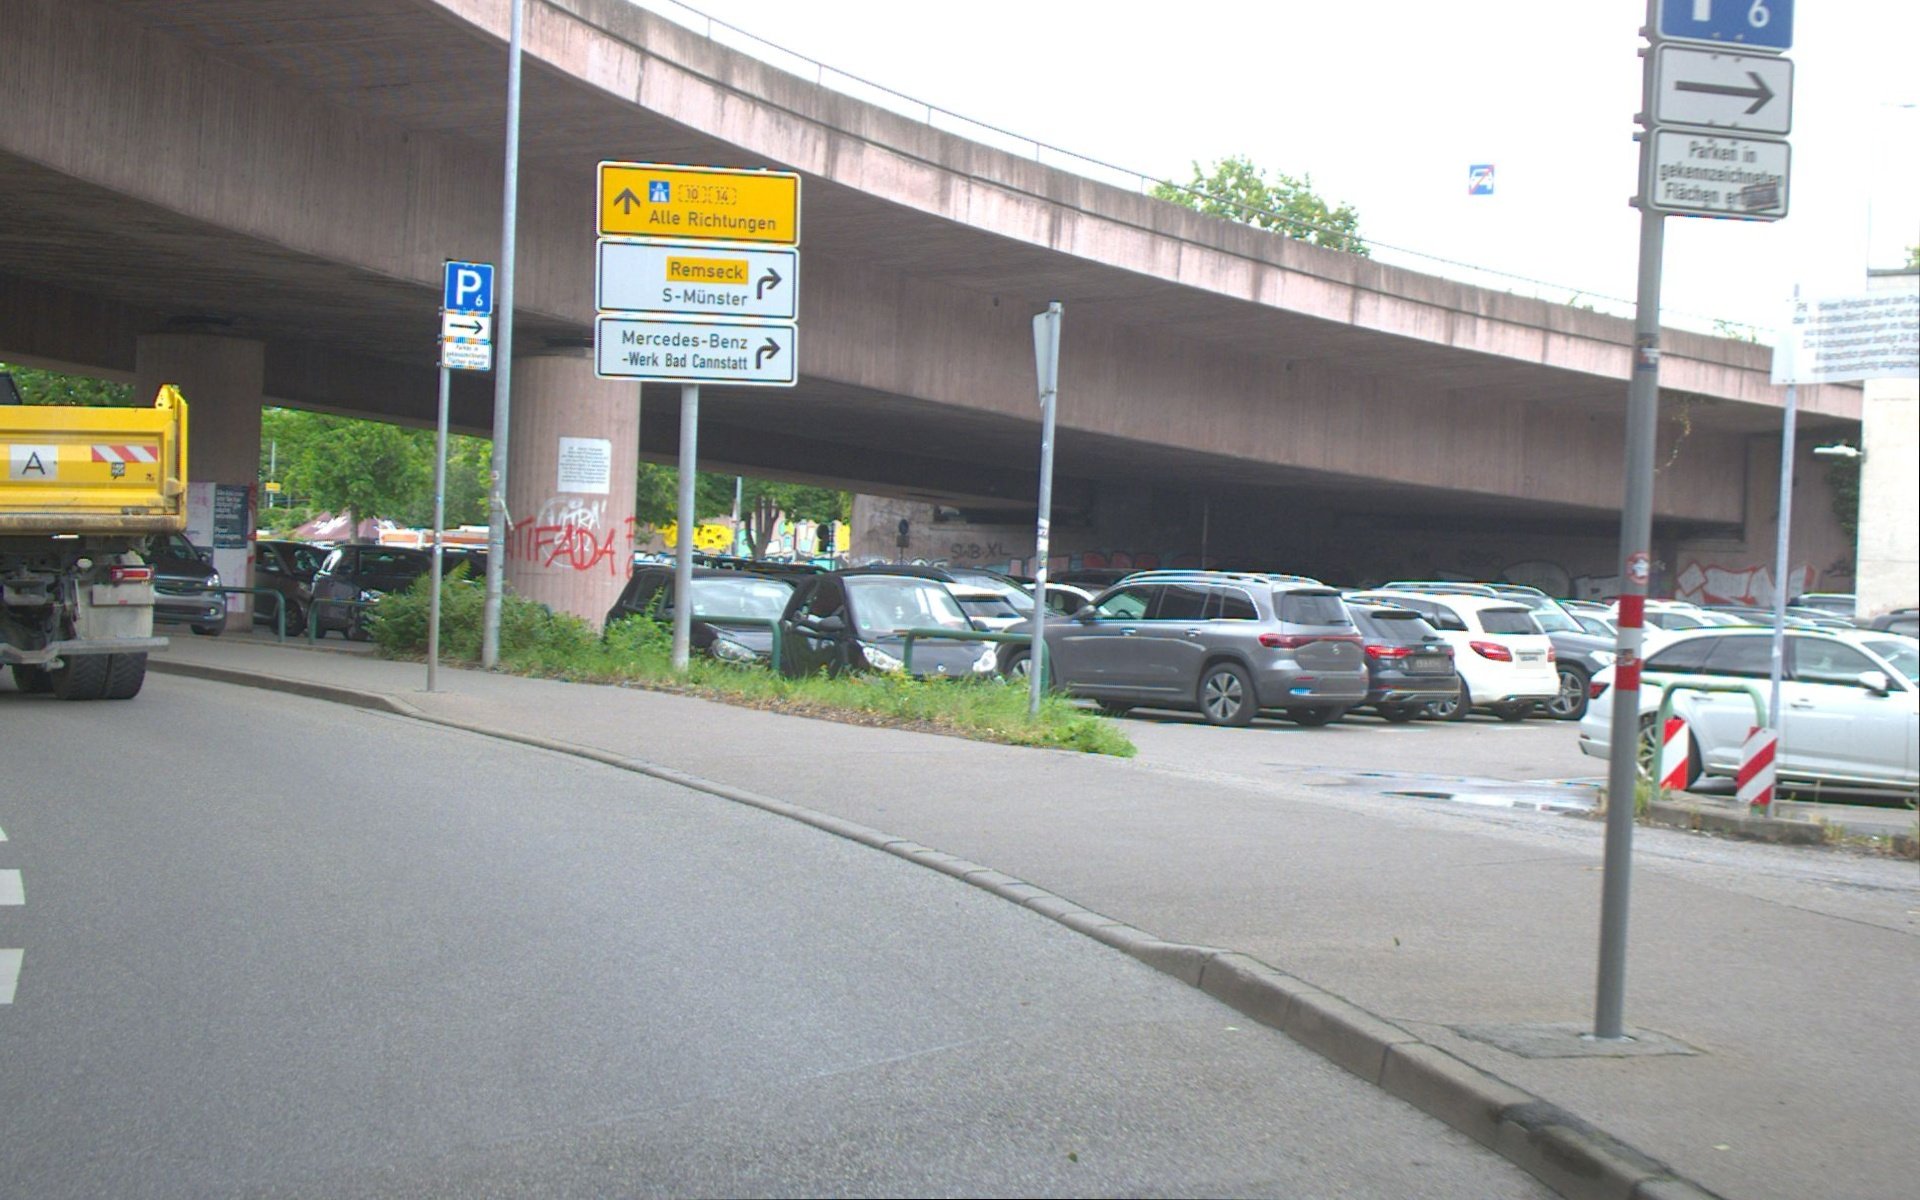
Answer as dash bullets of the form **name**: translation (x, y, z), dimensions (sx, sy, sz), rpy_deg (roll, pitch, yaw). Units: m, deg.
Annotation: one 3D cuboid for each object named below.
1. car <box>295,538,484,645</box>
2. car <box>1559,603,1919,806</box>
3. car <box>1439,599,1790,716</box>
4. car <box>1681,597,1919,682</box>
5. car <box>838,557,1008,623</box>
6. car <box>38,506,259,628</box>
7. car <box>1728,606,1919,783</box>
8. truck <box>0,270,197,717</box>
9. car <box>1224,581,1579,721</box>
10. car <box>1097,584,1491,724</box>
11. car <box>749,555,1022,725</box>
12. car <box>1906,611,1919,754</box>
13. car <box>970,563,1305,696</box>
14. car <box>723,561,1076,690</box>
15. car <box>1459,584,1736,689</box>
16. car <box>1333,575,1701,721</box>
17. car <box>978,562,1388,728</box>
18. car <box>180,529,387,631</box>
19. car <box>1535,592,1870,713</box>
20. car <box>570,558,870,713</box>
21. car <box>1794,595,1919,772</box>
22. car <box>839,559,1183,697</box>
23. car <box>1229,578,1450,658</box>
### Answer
- **car**: translation (-8.798, -0.117, 52.786), dimensions (1.785, 1.501, 3.859), rpy_deg (3, -1, -26)
- **car**: translation (7.436, 0.859, 28.227), dimensions (4.684, 1.470, 1.853), rpy_deg (3, 1, 44)
- **car**: translation (8.791, 0.756, 46.421), dimensions (4.403, 1.359, 1.627), rpy_deg (3, 1, 41)
- **car**: translation (15.798, 0.733, 64.161), dimensions (4.188, 1.404, 1.834), rpy_deg (3, 1, 41)
- **car**: translation (-0.919, -0.258, 84.610), dimensions (3.857, 1.473, 1.754), rpy_deg (2, 1, 35)
- **car**: translation (-11.321, -0.475, 47.843), dimensions (1.606, 1.528, 3.409), rpy_deg (4, -1, -38)
- **car**: translation (9.330, 0.885, 30.202), dimensions (4.683, 1.470, 1.854), rpy_deg (3, 1, 42)
- **truck**: translation (-9.582, -0.942, 31.951), dimensions (2.758, 3.686, 7.881), rpy_deg (-1, 1, -29)
- **car**: translation (5.498, 0.620, 43.093), dimensions (4.084, 1.551, 1.752), rpy_deg (3, 1, 41)
- **car**: translation (3.942, 0.621, 41.078), dimensions (4.455, 1.444, 1.752), rpy_deg (3, 1, 41)
- **car**: translation (-0.735, 0.353, 32.336), dimensions (1.539, 1.474, 2.761), rpy_deg (2, 0, -25)
- **car**: translation (11.942, 0.929, 33.954), dimensions (4.617, 1.439, 1.854), rpy_deg (3, 1, 42)
- **car**: translation (2.335, 0.383, 45.912), dimensions (4.188, 1.587, 1.834), rpy_deg (3, 1, 41)
- **car**: translation (-0.784, 0.306, 42.656), dimensions (4.188, 1.416, 1.834), rpy_deg (3, 1, 41)
- **car**: translation (10.696, 0.601, 57.834), dimensions (4.188, 1.587, 1.834), rpy_deg (3, 1, 41)
- **car**: translation (7.216, 0.602, 44.832), dimensions (4.428, 1.685, 1.752), rpy_deg (3, 1, 41)
- **car**: translation (2.484, 0.485, 39.034), dimensions (4.466, 1.669, 1.741), rpy_deg (3, 1, 41)
- **car**: translation (-11.152, -0.340, 56.614), dimensions (3.372, 1.495, 1.526), rpy_deg (2, -2, 41)
- **car**: translation (10.375, 0.716, 48.188), dimensions (4.257, 1.504, 1.705), rpy_deg (3, 1, 41)
- **car**: translation (-2.617, 0.338, 36.492), dimensions (1.729, 1.474, 4.250), rpy_deg (2, 0, -25)
- **car**: translation (10.393, 0.859, 32.262), dimensions (4.617, 1.622, 1.854), rpy_deg (3, 1, 42)
- **car**: translation (0.624, 0.342, 44.296), dimensions (4.188, 1.587, 1.834), rpy_deg (3, 1, 41)
- **car**: translation (7.794, 0.364, 70.832), dimensions (4.188, 1.460, 1.834), rpy_deg (3, 1, 41)
